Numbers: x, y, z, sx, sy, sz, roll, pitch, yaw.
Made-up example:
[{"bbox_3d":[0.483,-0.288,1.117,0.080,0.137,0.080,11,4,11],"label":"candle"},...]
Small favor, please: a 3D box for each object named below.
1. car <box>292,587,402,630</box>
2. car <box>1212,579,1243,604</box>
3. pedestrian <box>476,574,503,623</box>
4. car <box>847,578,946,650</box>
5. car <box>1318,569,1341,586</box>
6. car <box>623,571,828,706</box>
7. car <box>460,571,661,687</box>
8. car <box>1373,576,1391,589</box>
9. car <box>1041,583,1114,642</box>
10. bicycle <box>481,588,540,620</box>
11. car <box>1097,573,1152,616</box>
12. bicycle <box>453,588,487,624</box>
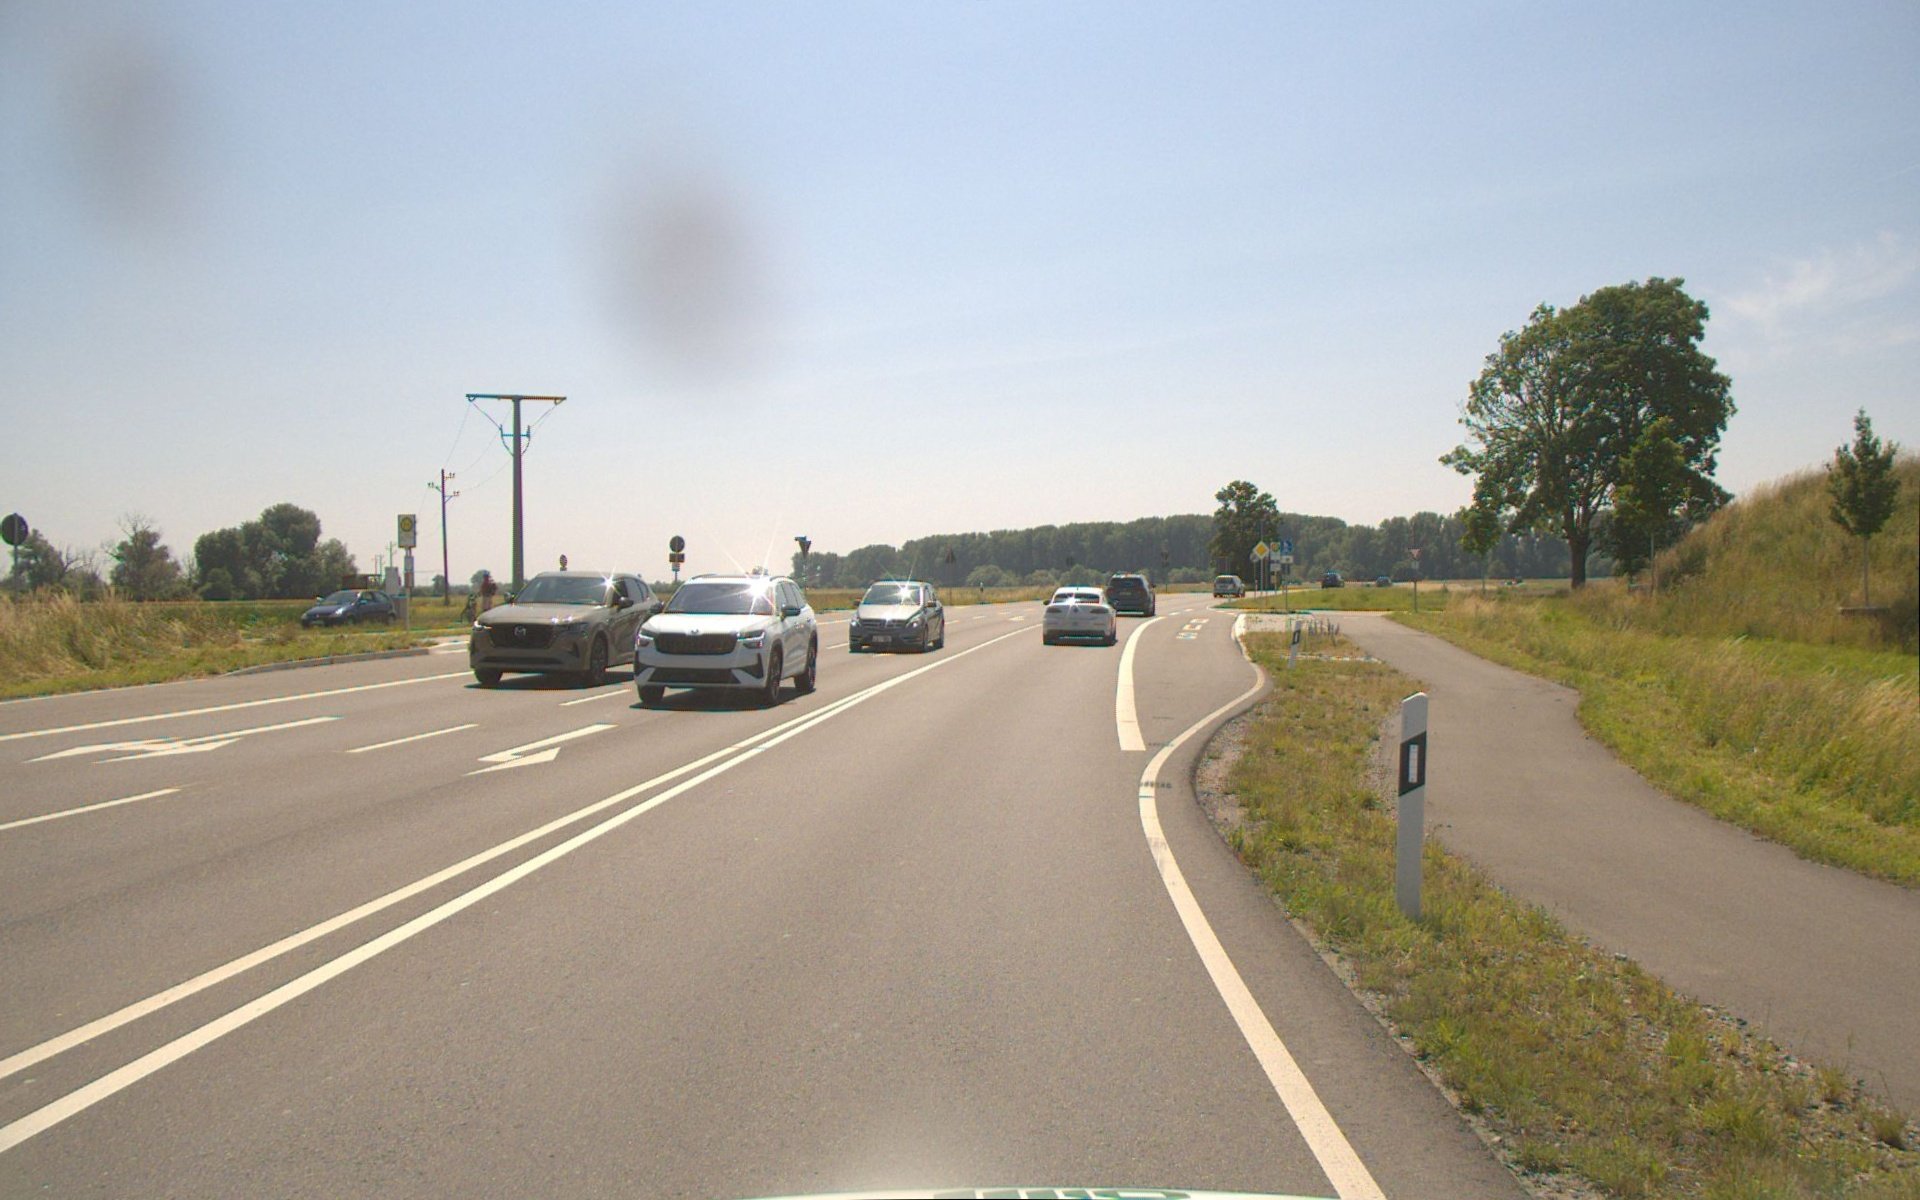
[{"bbox_3d":[-20.615,0.281,55.766,1.638,1.411,3.842,0,0,13],"label":"car"},{"bbox_3d":[17.727,-0.548,109.323,1.761,1.454,4.096,-3,-2,12],"label":"car"},{"bbox_3d":[-17.344,-0.048,61.027,0.595,1.817,0.847,0,-1,15],"label":"pedestrian"},{"bbox_3d":[-1.432,0.284,39.012,1.695,1.582,4.383,1,1,6],"label":"car"},{"bbox_3d":[35.825,-2.172,160.364,1.762,1.502,4.416,-2,-1,18],"label":"car"},{"bbox_3d":[-3.147,0.477,23.205,1.838,1.679,4.846,1,0,4],"label":"car"},{"bbox_3d":[-6.217,0.392,26.346,1.921,1.679,4.790,0,1,1],"label":"car"},{"bbox_3d":[51.779,-2.130,202.884,1.763,1.548,3.883,1,2,21],"label":"car"},{"bbox_3d":[3.142,0.340,43.773,1.809,1.458,4.611,0,-1,5],"label":"car"},{"bbox_3d":[-21.415,0.185,78.832,2.558,1.396,0.901,-2,-2,-6],"label":"bicycle"},{"bbox_3d":[6.879,-0.197,68.745,1.893,1.645,4.381,1,-1,10],"label":"car"},{"bbox_3d":[-17.991,0.222,60.765,0.480,1.270,1.511,0,0,14],"label":"bicycle"}]
